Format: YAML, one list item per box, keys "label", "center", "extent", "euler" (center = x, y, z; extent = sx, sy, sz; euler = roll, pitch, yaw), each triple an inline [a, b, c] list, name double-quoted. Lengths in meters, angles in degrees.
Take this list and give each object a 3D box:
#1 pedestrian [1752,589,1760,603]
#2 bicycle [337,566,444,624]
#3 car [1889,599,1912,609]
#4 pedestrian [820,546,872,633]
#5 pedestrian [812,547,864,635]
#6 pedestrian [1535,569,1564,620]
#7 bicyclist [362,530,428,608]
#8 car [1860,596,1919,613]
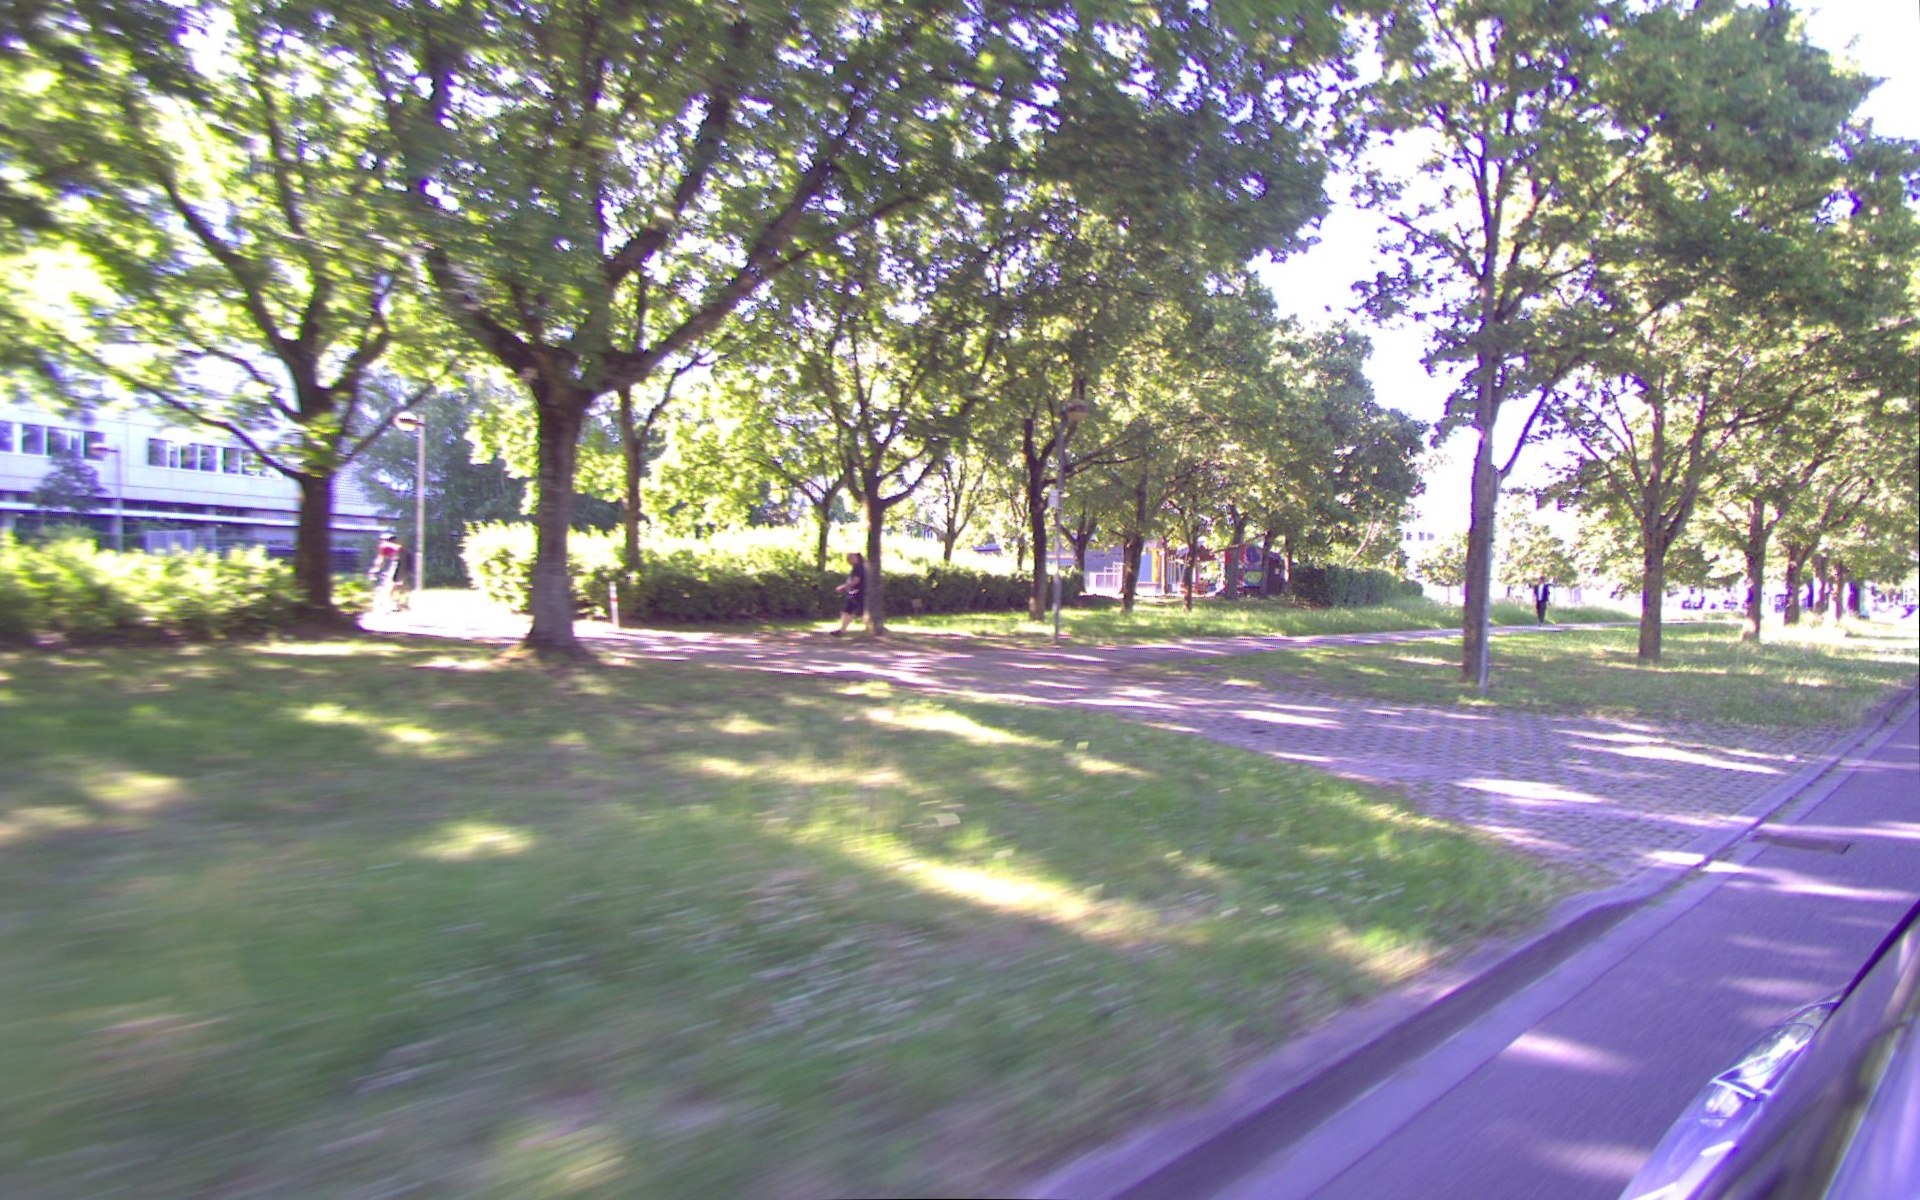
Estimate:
- label: "pedestrian"
  center: [97.464, -0.476, 123.944]
  extent: [0.728, 1.718, 0.726]
  euler: [1, 0, 35]
- label: "bicycle"
  center: [-11.083, -0.113, 19.682]
  extent: [2.122, 1.060, 0.789]
  euler: [2, 1, 28]
- label: "car"
  center: [166.110, 0.713, 178.753]
  extent: [1.817, 1.731, 4.199]
  euler: [1, 1, 28]
- label: "pedestrian"
  center: [-2.193, -0.205, 19.481]
  extent: [0.827, 1.642, 0.549]
  euler: [0, 1, -32]
- label: "pedestrian"
  center: [-2.423, -0.183, 20.075]
  extent: [0.827, 1.713, 0.639]
  euler: [0, 1, -32]
- label: "pedestrian"
  center: [21.747, -0.204, 37.326]
  extent: [0.781, 1.826, 0.716]
  euler: [0, 0, -45]
- label: "bicyclist"
  center: [-10.944, -0.597, 19.604]
  extent: [0.837, 1.468, 0.785]
  euler: [1, 1, 27]
- label: "car"
  center: [95.834, 0.475, 104.017]
  extent: [4.594, 1.643, 1.979]
  euler: [1, 1, 31]
